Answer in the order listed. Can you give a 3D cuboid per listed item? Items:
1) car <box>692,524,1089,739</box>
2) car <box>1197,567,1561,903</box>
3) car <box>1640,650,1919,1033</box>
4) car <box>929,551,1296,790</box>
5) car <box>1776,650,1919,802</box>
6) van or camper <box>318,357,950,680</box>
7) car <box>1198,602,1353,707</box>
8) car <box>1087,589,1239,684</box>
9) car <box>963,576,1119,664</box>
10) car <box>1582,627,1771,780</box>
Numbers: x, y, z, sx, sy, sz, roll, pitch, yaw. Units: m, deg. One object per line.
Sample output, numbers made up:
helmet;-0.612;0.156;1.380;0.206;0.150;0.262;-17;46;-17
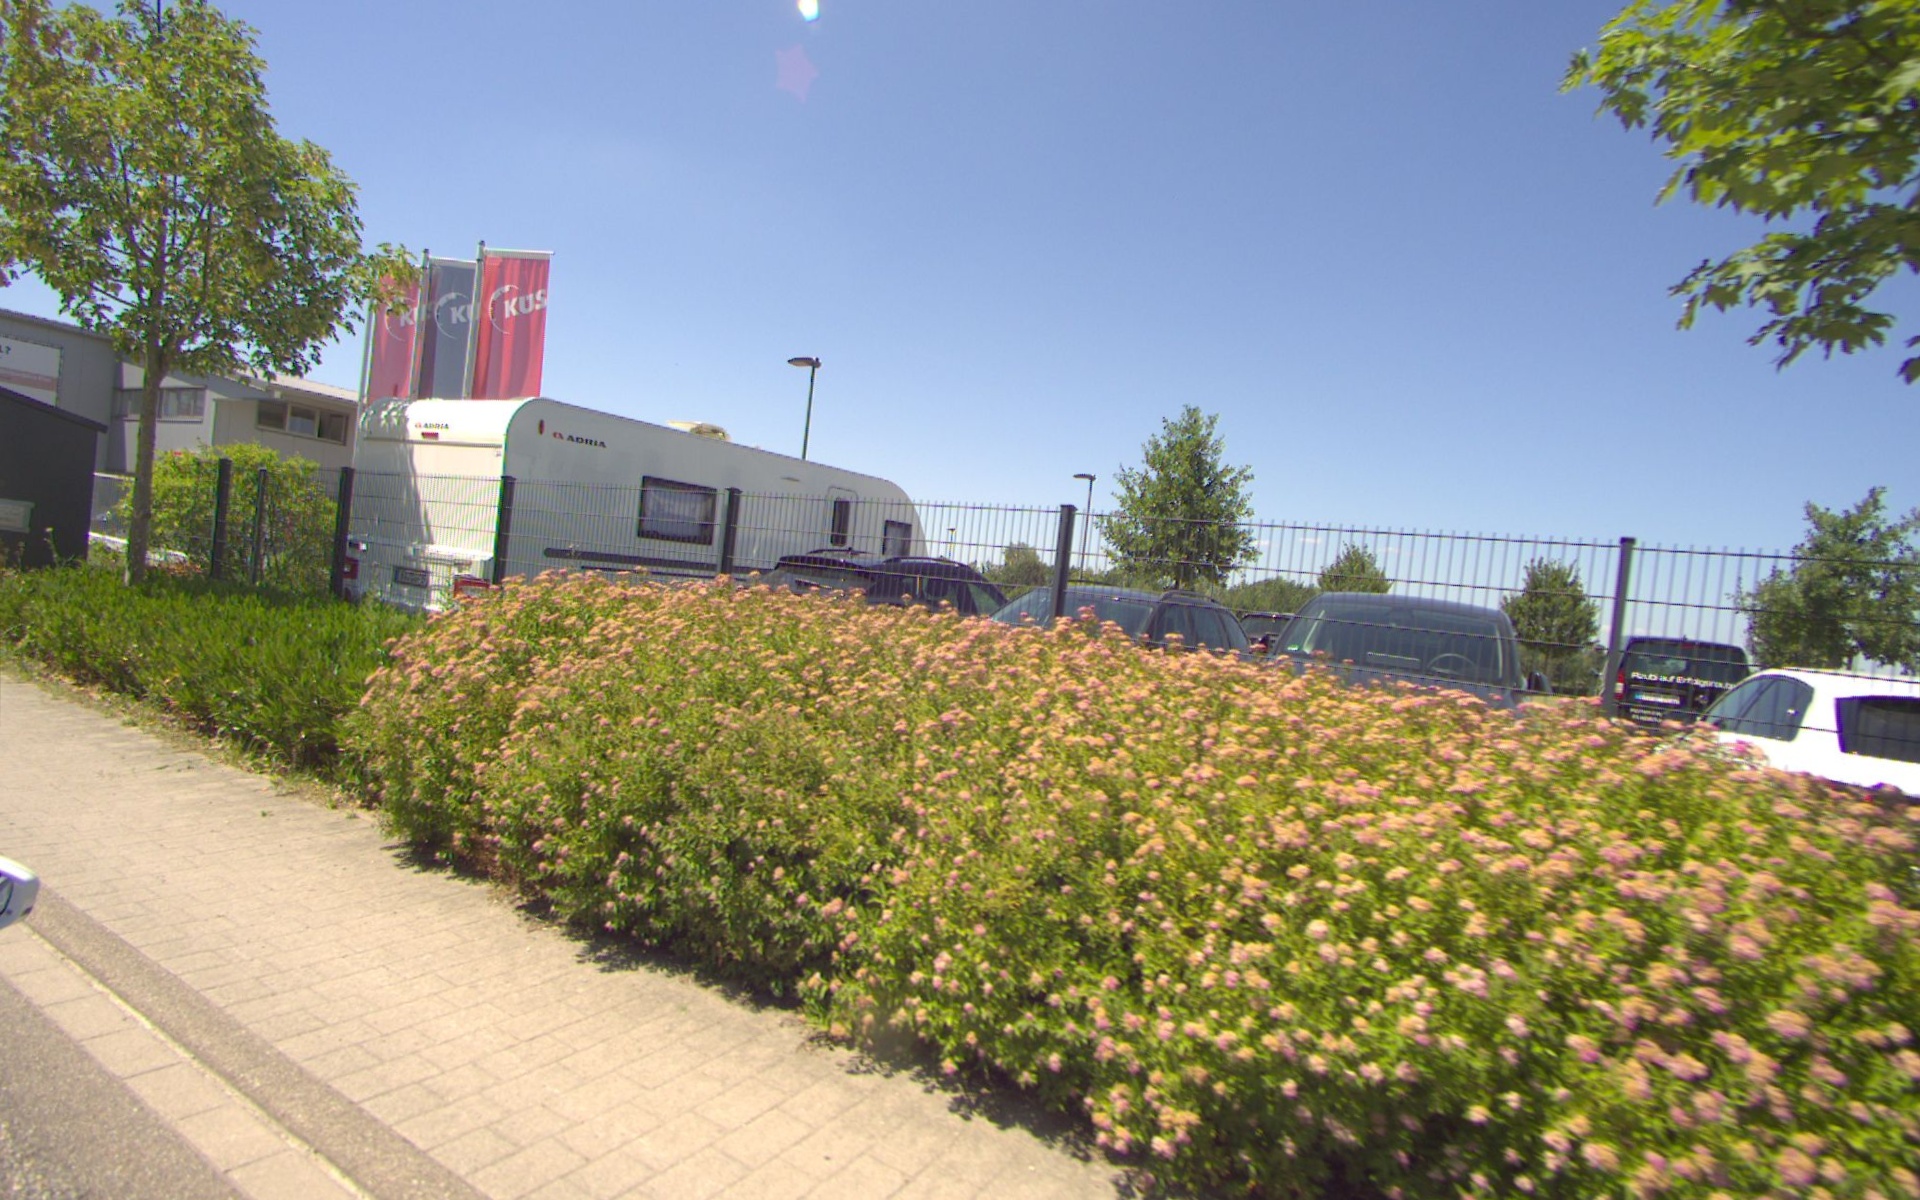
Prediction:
car;-0.438;0.289;10.006;1.778;1.557;4.139;7;2;31
car;3.401;0.782;7.596;1.778;1.641;4.254;7;2;31
car;5.198;1.140;5.625;1.775;1.459;3.844;7;2;28
car;1.645;0.552;9.300;1.778;1.557;4.139;7;2;31
car;13.091;1.718;14.069;1.886;1.786;4.044;7;1;31
van or camper;-3.102;-0.587;11.692;2.592;2.617;6.763;7;1;31
car;5.992;1.004;18.814;1.719;1.568;4.044;7;1;31
car;4.162;0.740;20.152;1.650;1.562;3.824;7;1;31
car;1.850;0.482;21.926;1.721;1.596;3.824;7;1;31
car;10.883;1.490;15.574;1.886;1.830;4.044;7;1;31
